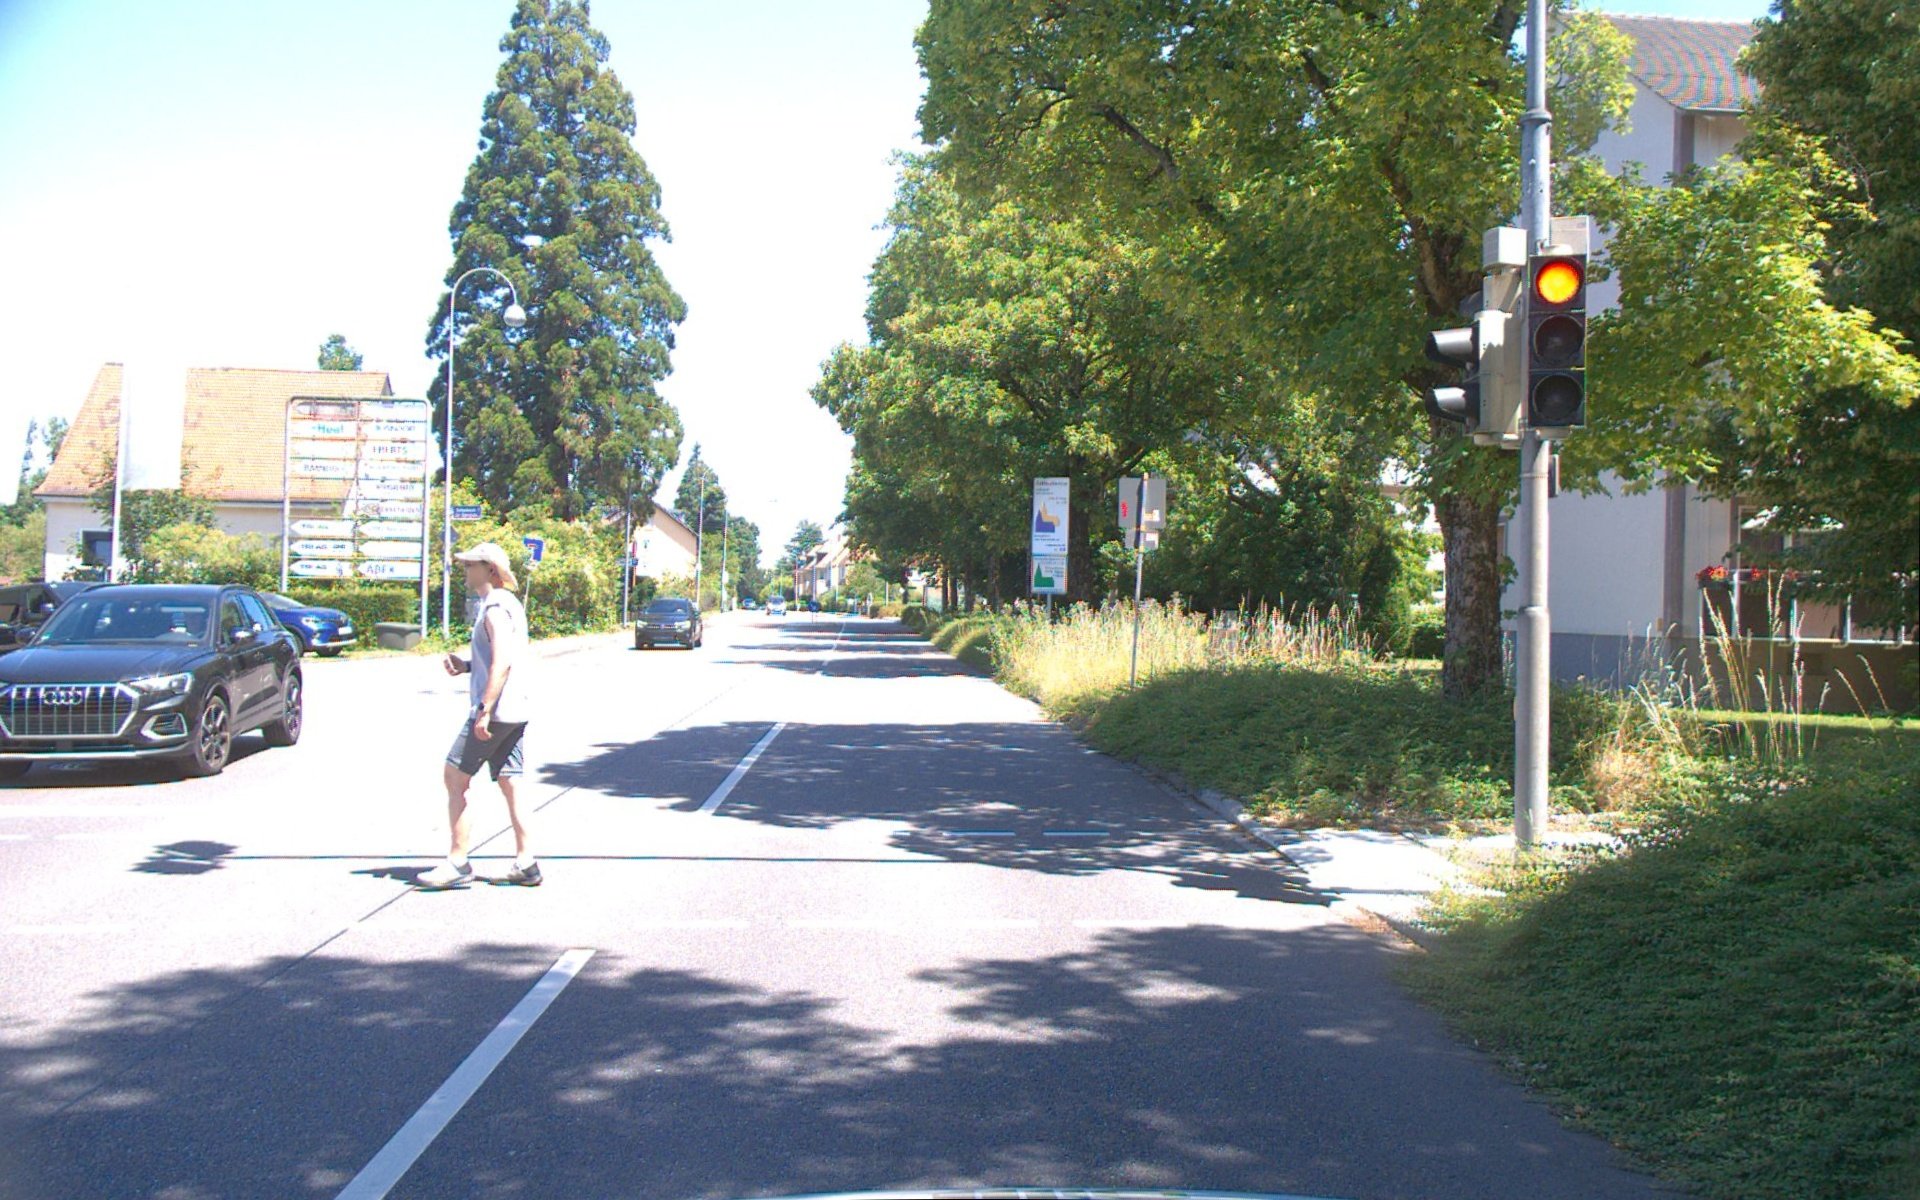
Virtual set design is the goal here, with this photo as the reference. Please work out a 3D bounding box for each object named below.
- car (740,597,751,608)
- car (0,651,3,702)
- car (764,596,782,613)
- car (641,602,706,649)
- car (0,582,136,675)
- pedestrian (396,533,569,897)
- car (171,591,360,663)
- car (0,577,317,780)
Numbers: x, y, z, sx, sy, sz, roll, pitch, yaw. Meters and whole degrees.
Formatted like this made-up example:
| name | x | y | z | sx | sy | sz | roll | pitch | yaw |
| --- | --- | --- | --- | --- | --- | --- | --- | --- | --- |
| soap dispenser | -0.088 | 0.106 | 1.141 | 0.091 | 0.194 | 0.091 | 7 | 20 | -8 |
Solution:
| name | x | y | z | sx | sy | sz | roll | pitch | yaw |
| --- | --- | --- | --- | --- | --- | --- | --- | --- | --- |
| car | -30.181 | 0.334 | 232.849 | 1.431 | 1.460 | 3.180 | 1 | -1 | -5 |
| car | -24.588 | 1.898 | 39.557 | 1.713 | 1.247 | 3.240 | 1 | 0 | -6 |
| car | -17.197 | 0.446 | 152.153 | 1.525 | 1.473 | 3.786 | 1 | -1 | -5 |
| car | -8.607 | 0.756 | 49.839 | 1.402 | 1.345 | 3.354 | 1 | -1 | -1 |
| car | -18.072 | 0.547 | 32.393 | 3.089 | 1.744 | 1.569 | 1 | -1 | -11 |
| pedestrian | -2.441 | 0.561 | 8.475 | 0.601 | 1.781 | 0.561 | 1 | -1 | 28 |
| car | -14.902 | 0.563 | 35.617 | 3.425 | 1.452 | 1.598 | -1 | 0 | -8 |
| car | -7.284 | 0.642 | 14.993 | 1.887 | 1.553 | 4.296 | -1 | -1 | -10 |
